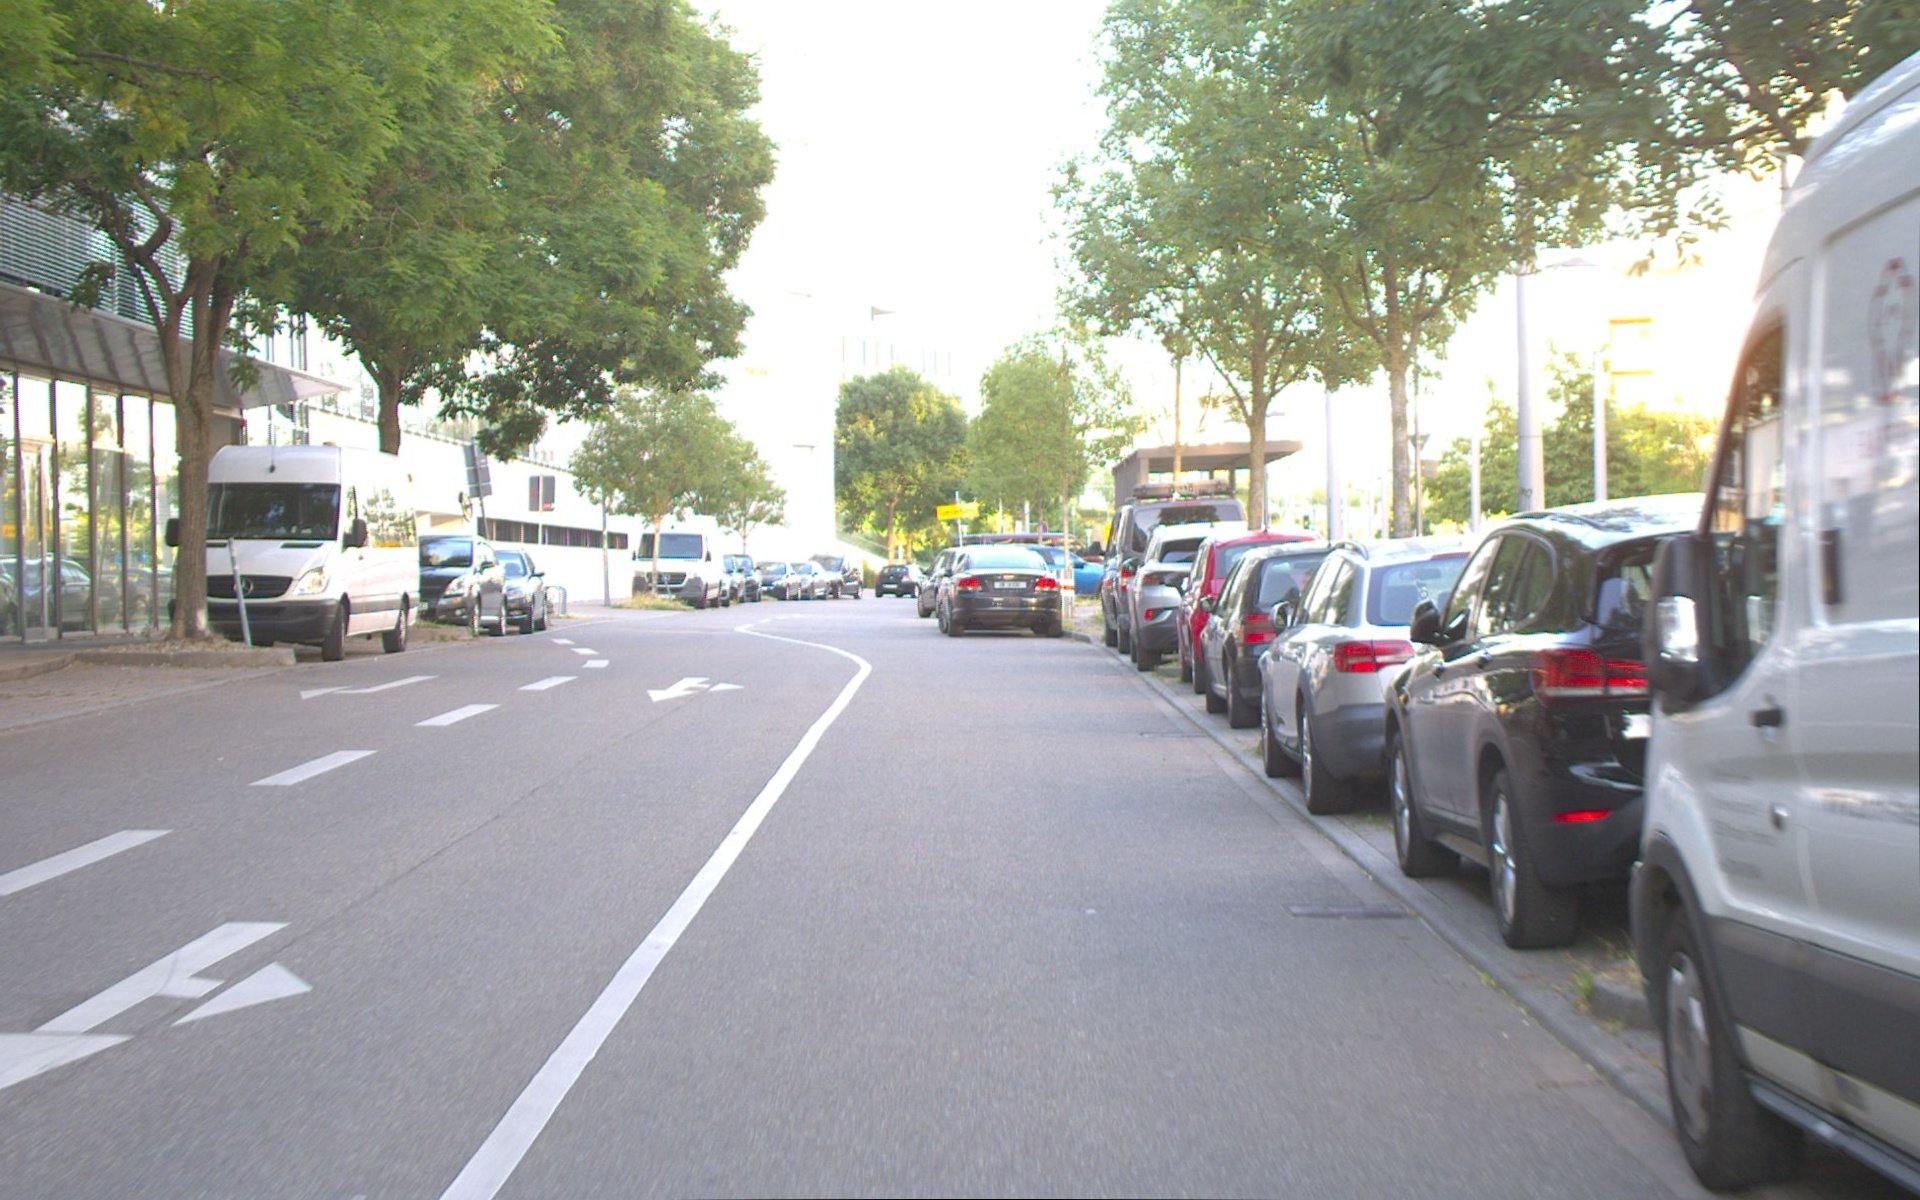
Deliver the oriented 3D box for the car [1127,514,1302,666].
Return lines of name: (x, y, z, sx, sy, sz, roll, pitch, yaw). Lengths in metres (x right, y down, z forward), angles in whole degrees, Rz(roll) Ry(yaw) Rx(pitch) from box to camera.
car: (2.851, -0.144, 39.322, 1.707, 1.575, 4.479, -2, 1, 1)

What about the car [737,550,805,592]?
car: (-6.839, -1.071, 124.614, 1.723, 1.452, 4.270, 1, 1, 7)

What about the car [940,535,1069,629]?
car: (0.681, -0.325, 55.605, 1.787, 1.447, 4.516, -1, 1, -3)

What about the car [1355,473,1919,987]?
car: (2.703, 0.390, 13.469, 1.707, 1.637, 4.267, -2, 1, -1)

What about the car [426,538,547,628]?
car: (-7.973, -0.325, 58.182, 1.714, 1.447, 4.400, -1, 1, -4)

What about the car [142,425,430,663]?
car: (-8.111, -0.691, 42.108, 2.100, 2.654, 6.951, 0, 1, 0)

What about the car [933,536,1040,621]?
car: (0.436, -0.403, 61.560, 1.676, 1.447, 4.188, -1, 1, -3)

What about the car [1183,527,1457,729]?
car: (2.842, 0.182, 27.902, 1.707, 1.446, 4.000, -2, 1, -1)

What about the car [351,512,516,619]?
car: (-8.055, -0.547, 52.937, 1.844, 1.566, 4.267, 0, 1, 0)

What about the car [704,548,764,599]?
car: (-7.616, -0.907, 116.003, 1.756, 1.648, 3.949, 1, 1, 0)

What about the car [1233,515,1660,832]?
car: (2.662, 0.328, 19.856, 1.796, 1.491, 4.781, -4, 1, 1)

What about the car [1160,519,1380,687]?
car: (3.009, -0.003, 34.126, 1.707, 1.488, 4.131, -2, 1, -1)

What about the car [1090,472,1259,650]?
car: (2.786, -0.522, 45.648, 1.804, 2.169, 4.736, -2, 1, -1)

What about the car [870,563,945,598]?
car: (-2.211, -0.832, 145.596, 1.945, 1.378, 4.396, 2, 1, 17)

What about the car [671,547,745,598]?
car: (-7.418, -0.831, 101.427, 1.756, 1.435, 3.901, 1, 1, 2)

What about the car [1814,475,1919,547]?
car: (21.489, -2.050, 77.515, 3.987, 1.482, 1.675, -3, 1, 1)

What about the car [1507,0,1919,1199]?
car: (2.574, -0.008, 6.072, 2.051, 2.648, 5.435, -4, 1, -1)

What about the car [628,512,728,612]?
car: (-7.735, -1.086, 94.998, 1.958, 2.608, 6.892, 1, 1, 2)
